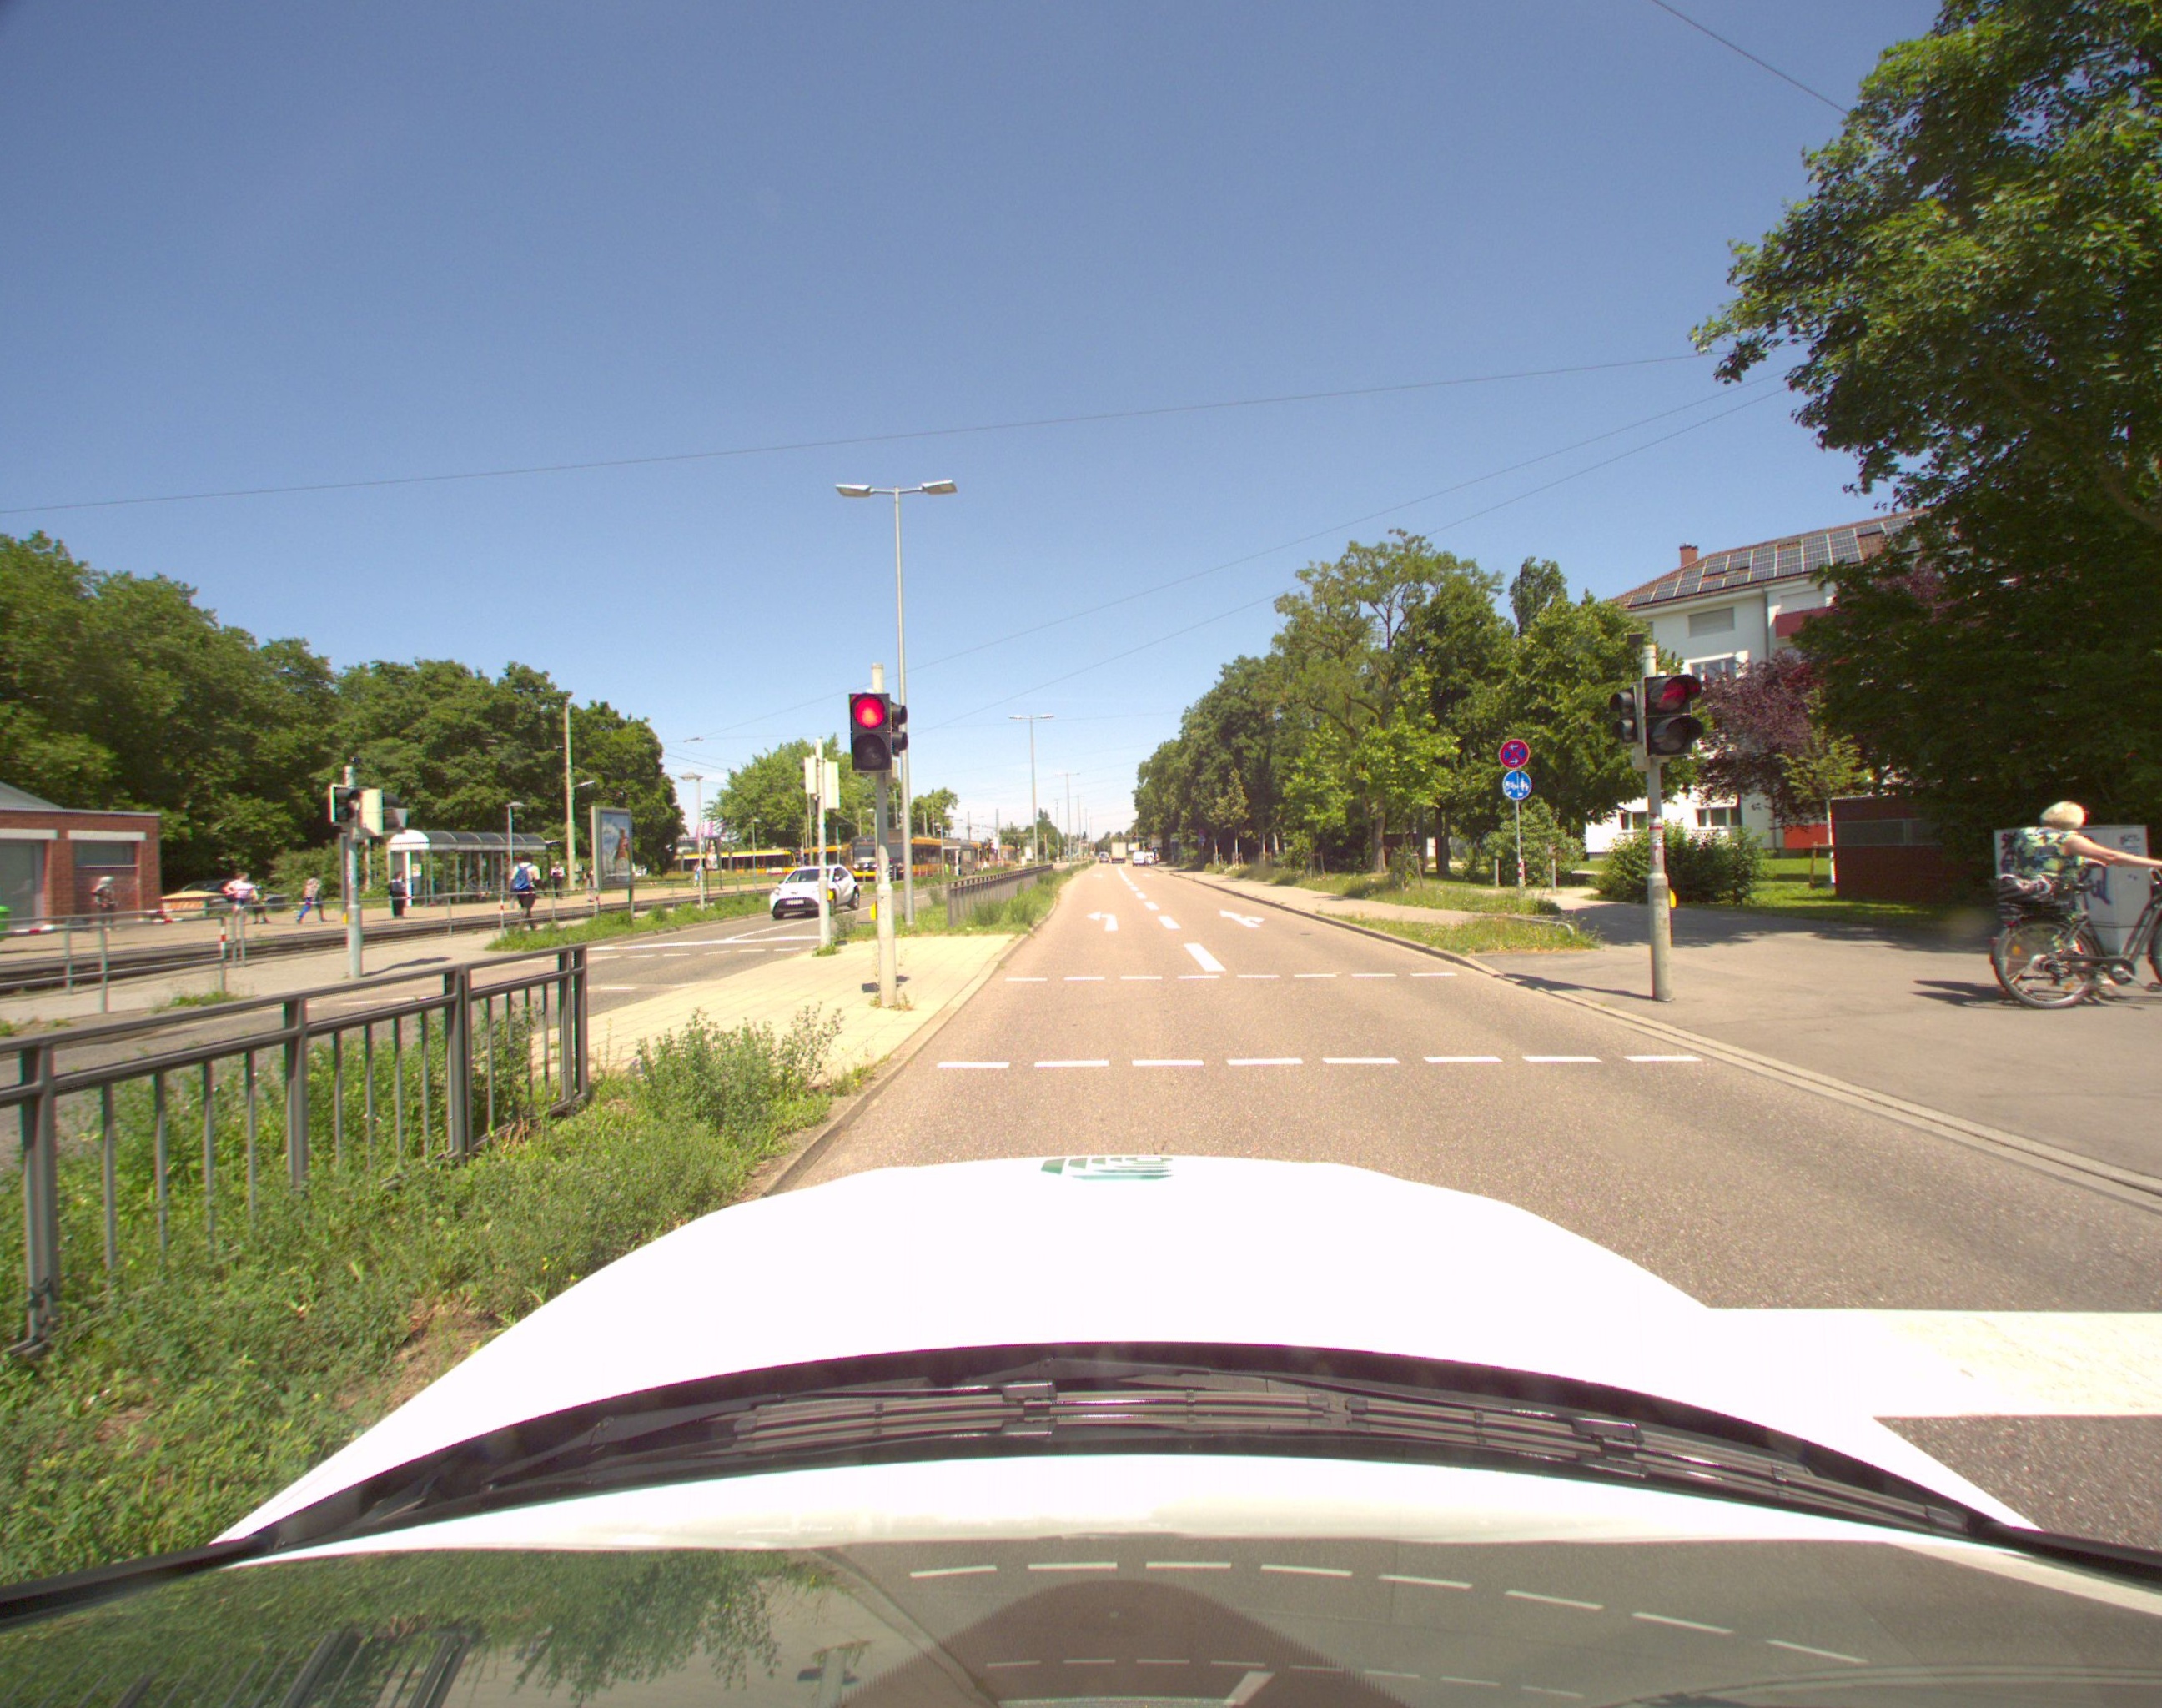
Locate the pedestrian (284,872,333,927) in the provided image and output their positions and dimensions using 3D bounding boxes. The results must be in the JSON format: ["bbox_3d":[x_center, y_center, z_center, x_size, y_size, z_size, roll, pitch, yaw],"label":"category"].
[{"bbox_3d":[-23.392,1.372,24.678,0.669,1.590,0.808,-2,0,1],"label":"pedestrian"}]

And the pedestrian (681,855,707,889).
[{"bbox_3d":[-23.115,1.064,48.619,0.977,2.013,1.021,-2,0,1],"label":"pedestrian"}]

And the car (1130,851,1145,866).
[{"bbox_3d":[7.299,0.564,105.539,1.773,1.903,4.002,-2,0,2],"label":"car"}]

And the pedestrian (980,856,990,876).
[{"bbox_3d":[-9.909,1.242,84.067,0.812,2.013,0.939,-2,0,1],"label":"pedestrian"}]

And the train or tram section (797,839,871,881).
[{"bbox_3d":[-26.835,0.713,87.350,3.236,3.931,18.318,-1,0,-31],"label":"train or tram section"}]

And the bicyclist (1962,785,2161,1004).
[{"bbox_3d":[8.097,0.317,6.685,0.951,1.666,0.582,-4,1,10],"label":"bicyclist"}]

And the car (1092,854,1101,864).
[{"bbox_3d":[3.330,1.099,175.332,1.986,2.013,4.002,-2,0,2],"label":"car"}]

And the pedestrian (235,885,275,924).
[{"bbox_3d":[-24.805,1.505,24.456,0.634,1.124,0.572,-2,0,16],"label":"pedestrian"}]

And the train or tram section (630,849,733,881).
[{"bbox_3d":[-53.670,1.564,108.967,18.260,3.931,3.247,-2,0,32],"label":"train or tram section"}]

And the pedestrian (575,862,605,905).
[{"bbox_3d":[-21.216,1.253,35.185,0.715,1.777,0.843,3,2,1],"label":"pedestrian"}]

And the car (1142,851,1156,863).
[{"bbox_3d":[9.910,0.462,118.762,1.773,1.668,4.002,-2,0,2],"label":"car"}]

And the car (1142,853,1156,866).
[{"bbox_3d":[9.388,0.720,112.421,1.773,1.668,4.002,-2,0,2],"label":"car"}]

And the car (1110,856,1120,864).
[{"bbox_3d":[6.490,1.147,153.689,1.804,1.464,4.002,-2,0,2],"label":"car"}]

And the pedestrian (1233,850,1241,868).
[{"bbox_3d":[12.650,0.439,66.119,0.600,1.438,0.557,-2,0,8],"label":"pedestrian"}]

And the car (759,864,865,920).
[{"bbox_3d":[-8.121,1.106,24.931,1.838,1.494,3.793,-2,0,2],"label":"car"}]

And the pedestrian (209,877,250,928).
[{"bbox_3d":[-24.890,1.406,23.805,0.634,1.456,0.585,-2,0,16],"label":"pedestrian"}]

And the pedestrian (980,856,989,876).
[{"bbox_3d":[-10.129,1.254,85.367,0.812,2.013,0.939,-2,0,1],"label":"pedestrian"}]

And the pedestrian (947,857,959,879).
[{"bbox_3d":[-10.979,1.203,69.730,0.783,1.868,0.818,-2,0,1],"label":"pedestrian"}]

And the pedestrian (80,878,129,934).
[{"bbox_3d":[-26.741,1.412,22.303,0.636,1.480,0.570,-2,0,1],"label":"pedestrian"}]

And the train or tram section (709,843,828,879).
[{"bbox_3d":[-38.382,0.900,99.214,18.260,3.931,3.247,-2,0,33],"label":"train or tram section"}]

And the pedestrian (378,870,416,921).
[{"bbox_3d":[-21.542,1.293,25.664,0.635,1.555,0.691,-2,0,-11],"label":"pedestrian"}]

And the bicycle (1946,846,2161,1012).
[{"bbox_3d":[8.162,0.562,6.366,1.945,1.161,0.543,-4,1,10],"label":"bicycle"}]

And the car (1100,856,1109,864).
[{"bbox_3d":[4.562,1.174,158.006,1.804,1.464,4.002,-2,0,2],"label":"car"}]

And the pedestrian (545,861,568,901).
[{"bbox_3d":[-24.566,1.258,38.145,0.725,1.800,0.835,-1,-1,-41],"label":"pedestrian"}]

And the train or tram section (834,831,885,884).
[{"bbox_3d":[-19.443,0.327,70.664,3.225,3.931,18.384,-2,0,-18],"label":"train or tram section"}]

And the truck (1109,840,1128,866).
[{"bbox_3d":[6.775,-0.167,146.137,3.193,4.359,6.563,-2,0,2],"label":"truck"}]

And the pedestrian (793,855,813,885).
[{"bbox_3d":[-19.502,1.100,57.115,0.977,2.013,1.021,-2,0,1],"label":"pedestrian"}]

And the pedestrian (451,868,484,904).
[{"bbox_3d":[-26.283,1.375,34.897,0.836,1.511,0.723,-2,0,12],"label":"pedestrian"}]

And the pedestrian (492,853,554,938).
[{"bbox_3d":[-12.290,0.888,17.965,0.715,1.777,0.843,3,2,1],"label":"pedestrian"}]

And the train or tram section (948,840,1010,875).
[{"bbox_3d":[-12.475,0.384,104.477,2.920,3.789,33.095,-2,0,1],"label":"train or tram section"}]

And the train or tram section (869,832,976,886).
[{"bbox_3d":[-13.195,0.368,73.012,2.947,3.749,30.039,-2,0,1],"label":"train or tram section"}]
